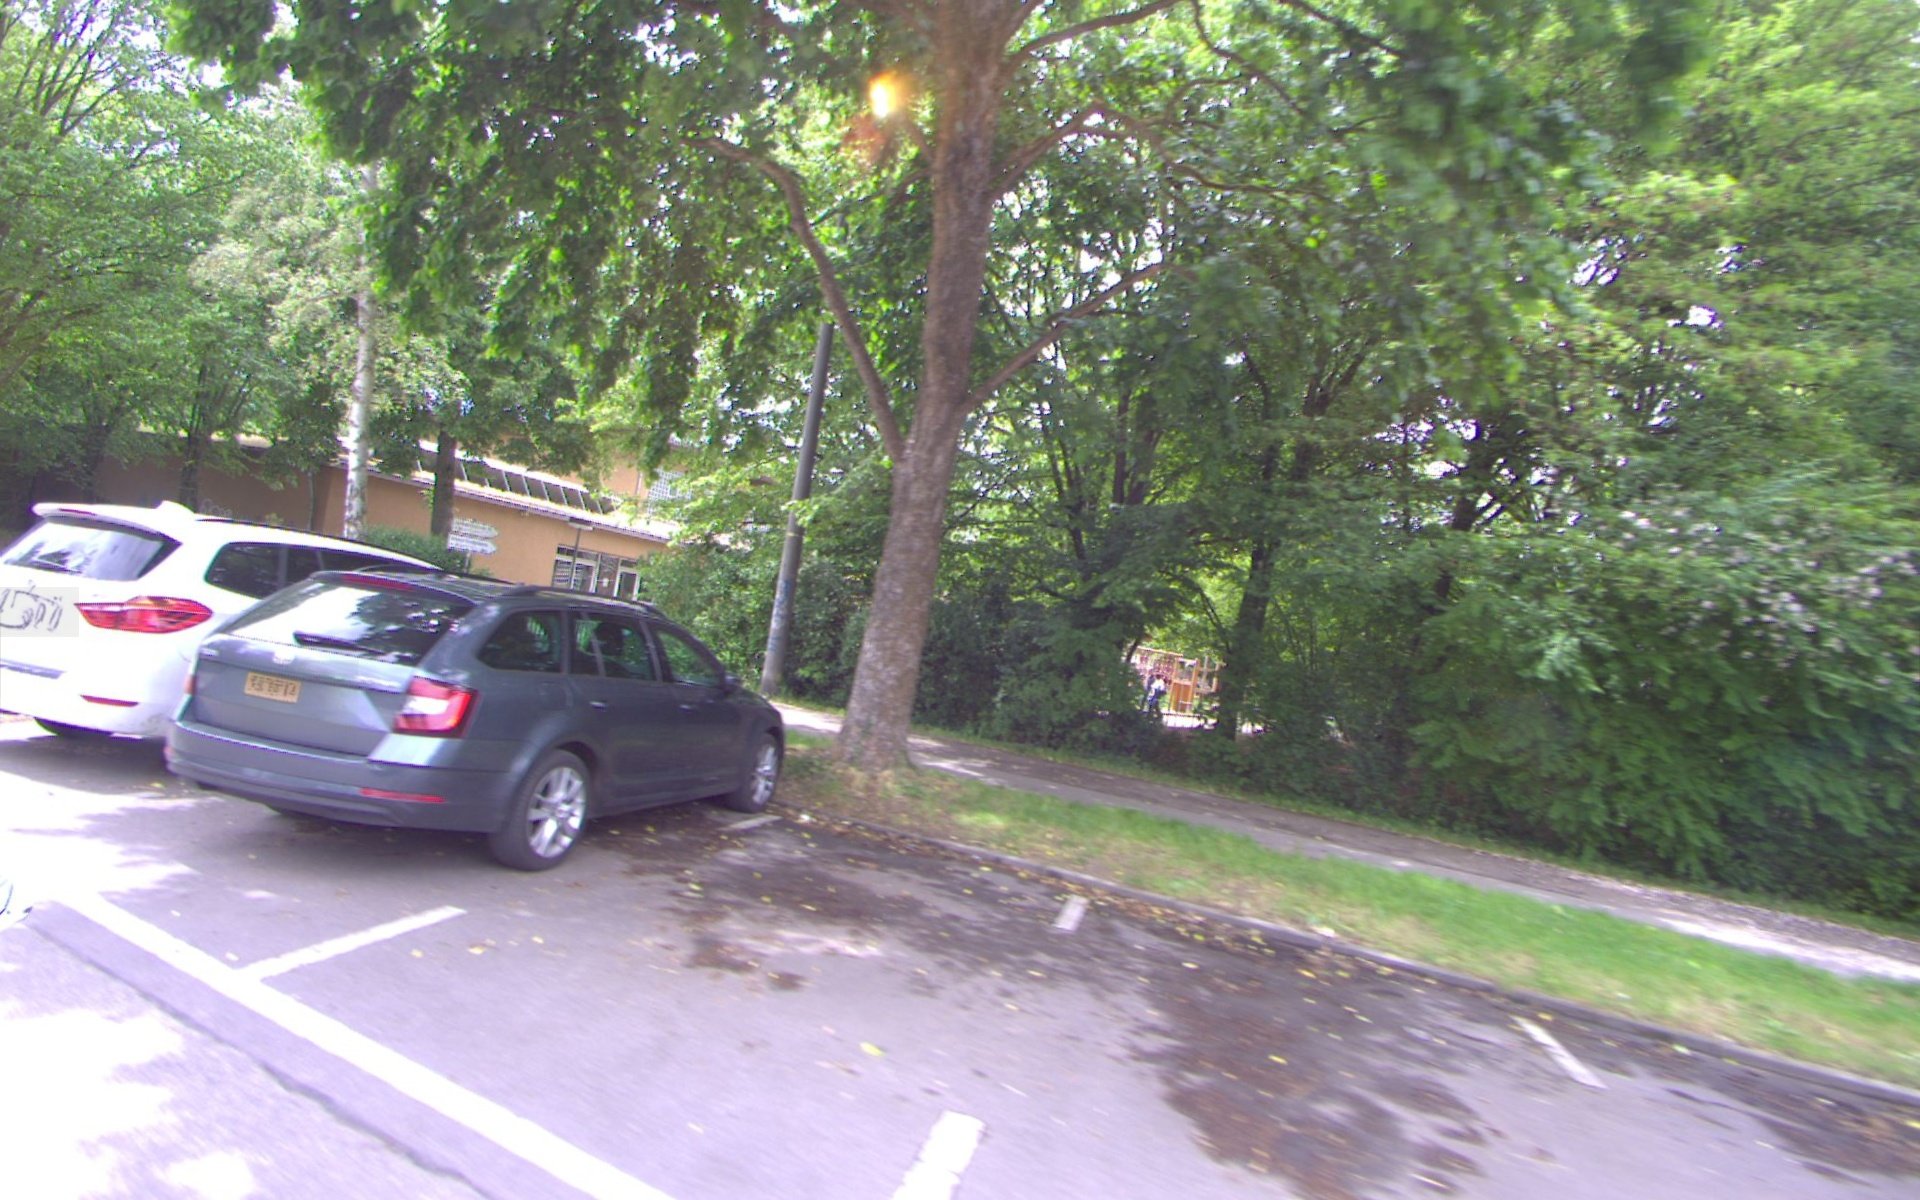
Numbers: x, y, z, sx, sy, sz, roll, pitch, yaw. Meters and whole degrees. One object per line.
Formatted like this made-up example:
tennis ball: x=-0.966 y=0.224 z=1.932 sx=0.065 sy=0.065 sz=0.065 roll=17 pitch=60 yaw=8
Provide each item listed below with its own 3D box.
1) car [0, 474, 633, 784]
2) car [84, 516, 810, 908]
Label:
car: x=-4.841 y=0.320 z=7.823 sx=1.871 sy=1.602 sz=4.490 roll=7 pitch=-4 yaw=20
car: x=-2.649 y=0.649 z=6.496 sx=1.764 sy=1.479 sz=4.155 roll=7 pitch=-4 yaw=13
